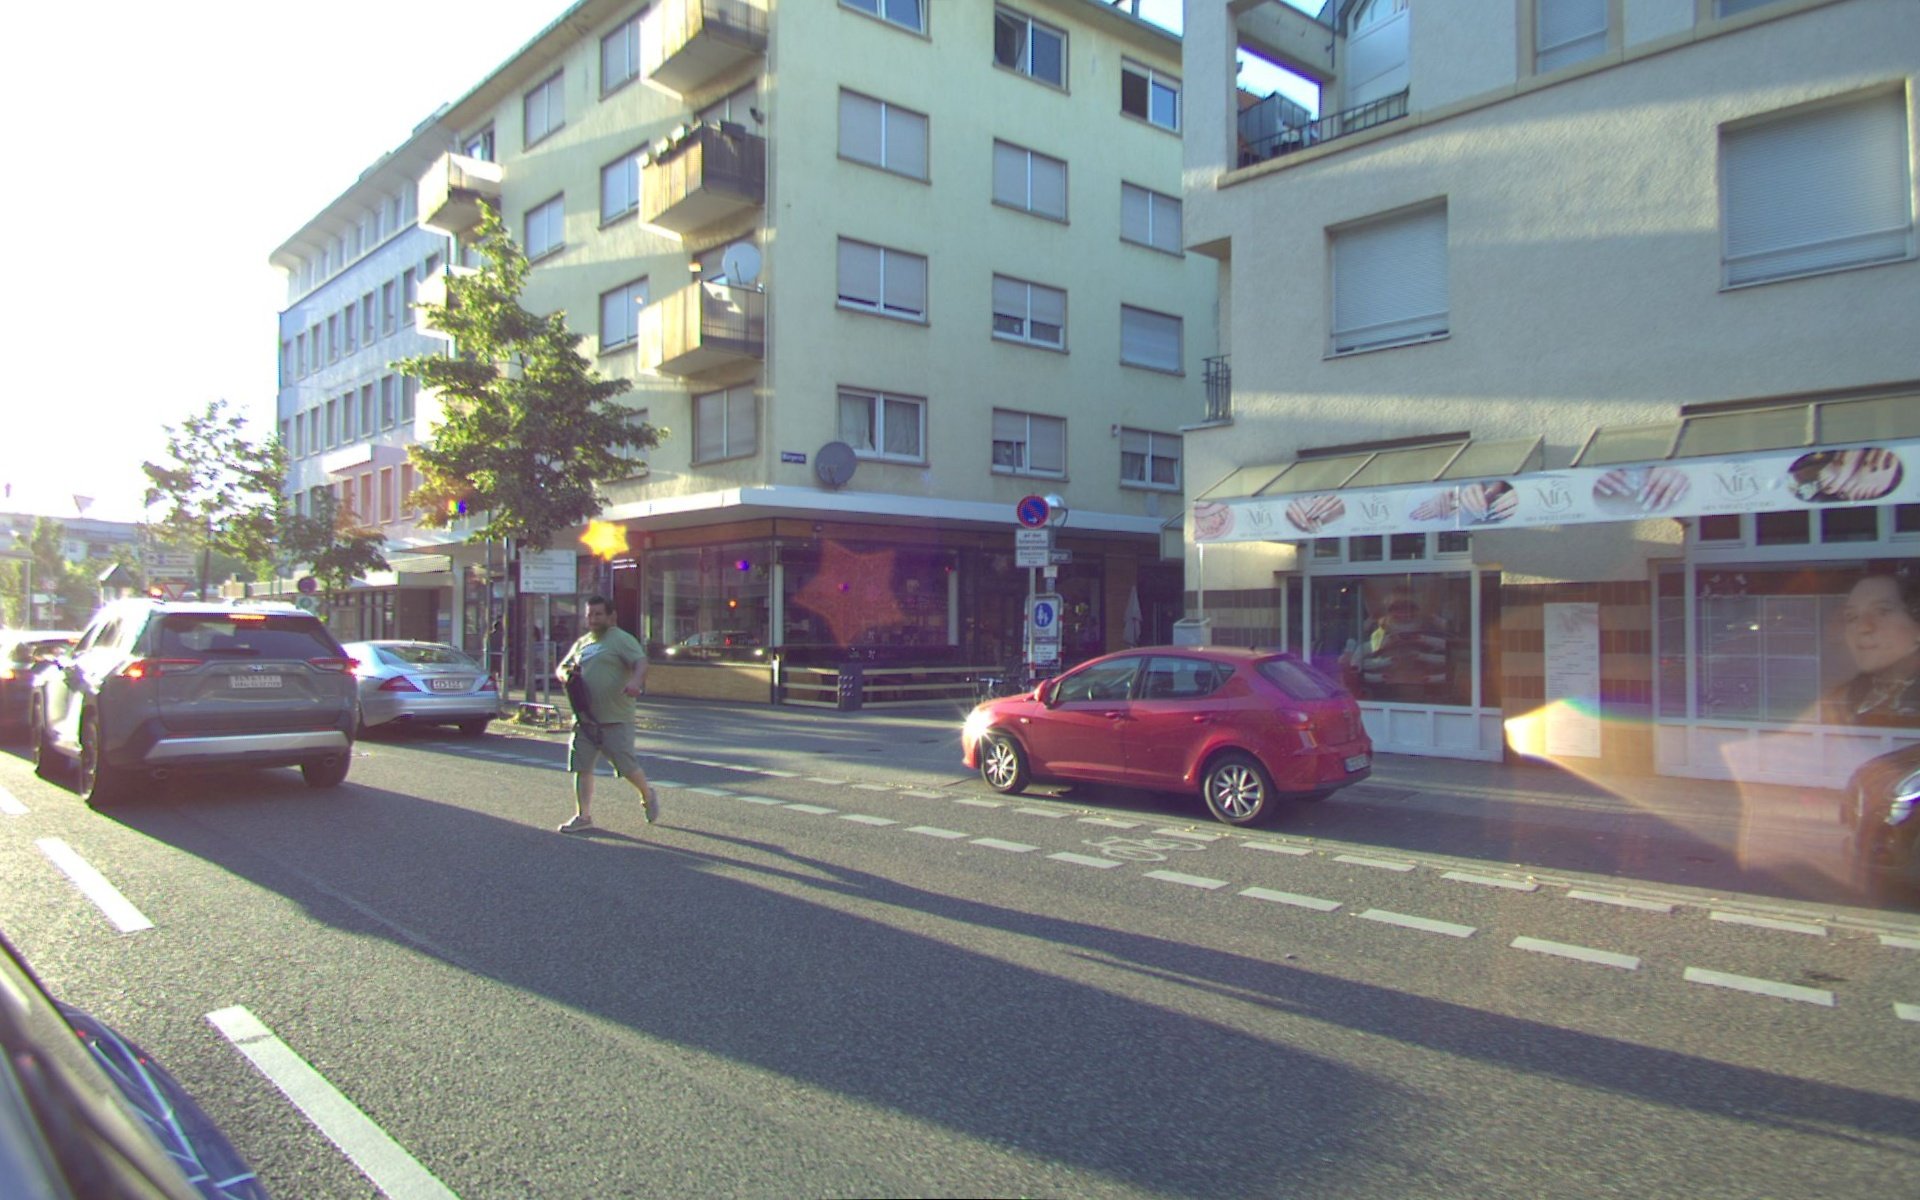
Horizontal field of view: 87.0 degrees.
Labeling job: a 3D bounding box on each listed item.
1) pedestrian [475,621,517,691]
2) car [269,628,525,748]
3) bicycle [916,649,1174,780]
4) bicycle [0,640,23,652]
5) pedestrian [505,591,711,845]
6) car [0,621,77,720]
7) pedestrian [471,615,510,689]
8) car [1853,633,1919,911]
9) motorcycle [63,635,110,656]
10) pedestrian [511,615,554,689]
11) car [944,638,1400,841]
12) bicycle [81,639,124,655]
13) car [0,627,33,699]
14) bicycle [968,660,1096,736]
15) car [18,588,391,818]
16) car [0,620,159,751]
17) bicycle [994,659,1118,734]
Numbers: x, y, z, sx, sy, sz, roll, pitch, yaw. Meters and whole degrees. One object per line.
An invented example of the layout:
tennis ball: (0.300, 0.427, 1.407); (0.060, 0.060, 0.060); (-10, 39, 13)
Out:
pedestrian: (-11.471, 1.378, 25.017); (0.758, 1.689, 0.744); (0, -1, -6)
car: (-8.694, 1.257, 15.476); (4.508, 1.523, 1.972); (-1, -4, 42)
bicycle: (0.949, 1.298, 12.266); (3.124, 1.310, 0.949); (-1, 0, 40)
bicycle: (-85.870, 4.170, 90.979); (2.365, 0.966, 0.673); (0, 0, -42)
pedestrian: (-2.526, 0.822, 7.364); (0.985, 1.689, 0.901); (0, -5, 18)
car: (-17.837, 1.207, 18.526); (4.614, 1.657, 1.925); (-1, -2, 42)
pedestrian: (-12.103, 1.332, 26.100); (0.758, 1.862, 0.744); (1, -3, -39)
car: (6.986, 0.942, 5.075); (3.723, 1.464, 1.693); (-1, 0, 42)
motorcycle: (-61.325, 3.163, 71.062); (2.416, 1.376, 0.780); (0, -2, -44)
pedestrian: (-10.794, 1.302, 25.557); (0.813, 1.833, 0.732); (-3, -4, 43)
car: (1.839, 1.114, 9.486); (3.882, 1.413, 1.643); (-1, 0, 41)
bicycle: (-58.639, 3.197, 69.210); (0.779, 1.096, 2.152); (-1, -2, 41)
car: (-22.667, 1.427, 22.833); (4.505, 1.559, 1.938); (-3, -3, 39)
bicycle: (1.050, 1.444, 15.209); (2.014, 0.999, 0.485); (-1, 0, 40)
car: (-7.350, 0.801, 9.641); (4.737, 1.657, 1.920); (-1, -2, 42)
car: (-12.767, 1.075, 14.135); (4.464, 1.561, 1.705); (-1, -2, 42)
bicycle: (1.451, 1.455, 15.582); (2.016, 0.999, 0.484); (-1, 0, 43)
